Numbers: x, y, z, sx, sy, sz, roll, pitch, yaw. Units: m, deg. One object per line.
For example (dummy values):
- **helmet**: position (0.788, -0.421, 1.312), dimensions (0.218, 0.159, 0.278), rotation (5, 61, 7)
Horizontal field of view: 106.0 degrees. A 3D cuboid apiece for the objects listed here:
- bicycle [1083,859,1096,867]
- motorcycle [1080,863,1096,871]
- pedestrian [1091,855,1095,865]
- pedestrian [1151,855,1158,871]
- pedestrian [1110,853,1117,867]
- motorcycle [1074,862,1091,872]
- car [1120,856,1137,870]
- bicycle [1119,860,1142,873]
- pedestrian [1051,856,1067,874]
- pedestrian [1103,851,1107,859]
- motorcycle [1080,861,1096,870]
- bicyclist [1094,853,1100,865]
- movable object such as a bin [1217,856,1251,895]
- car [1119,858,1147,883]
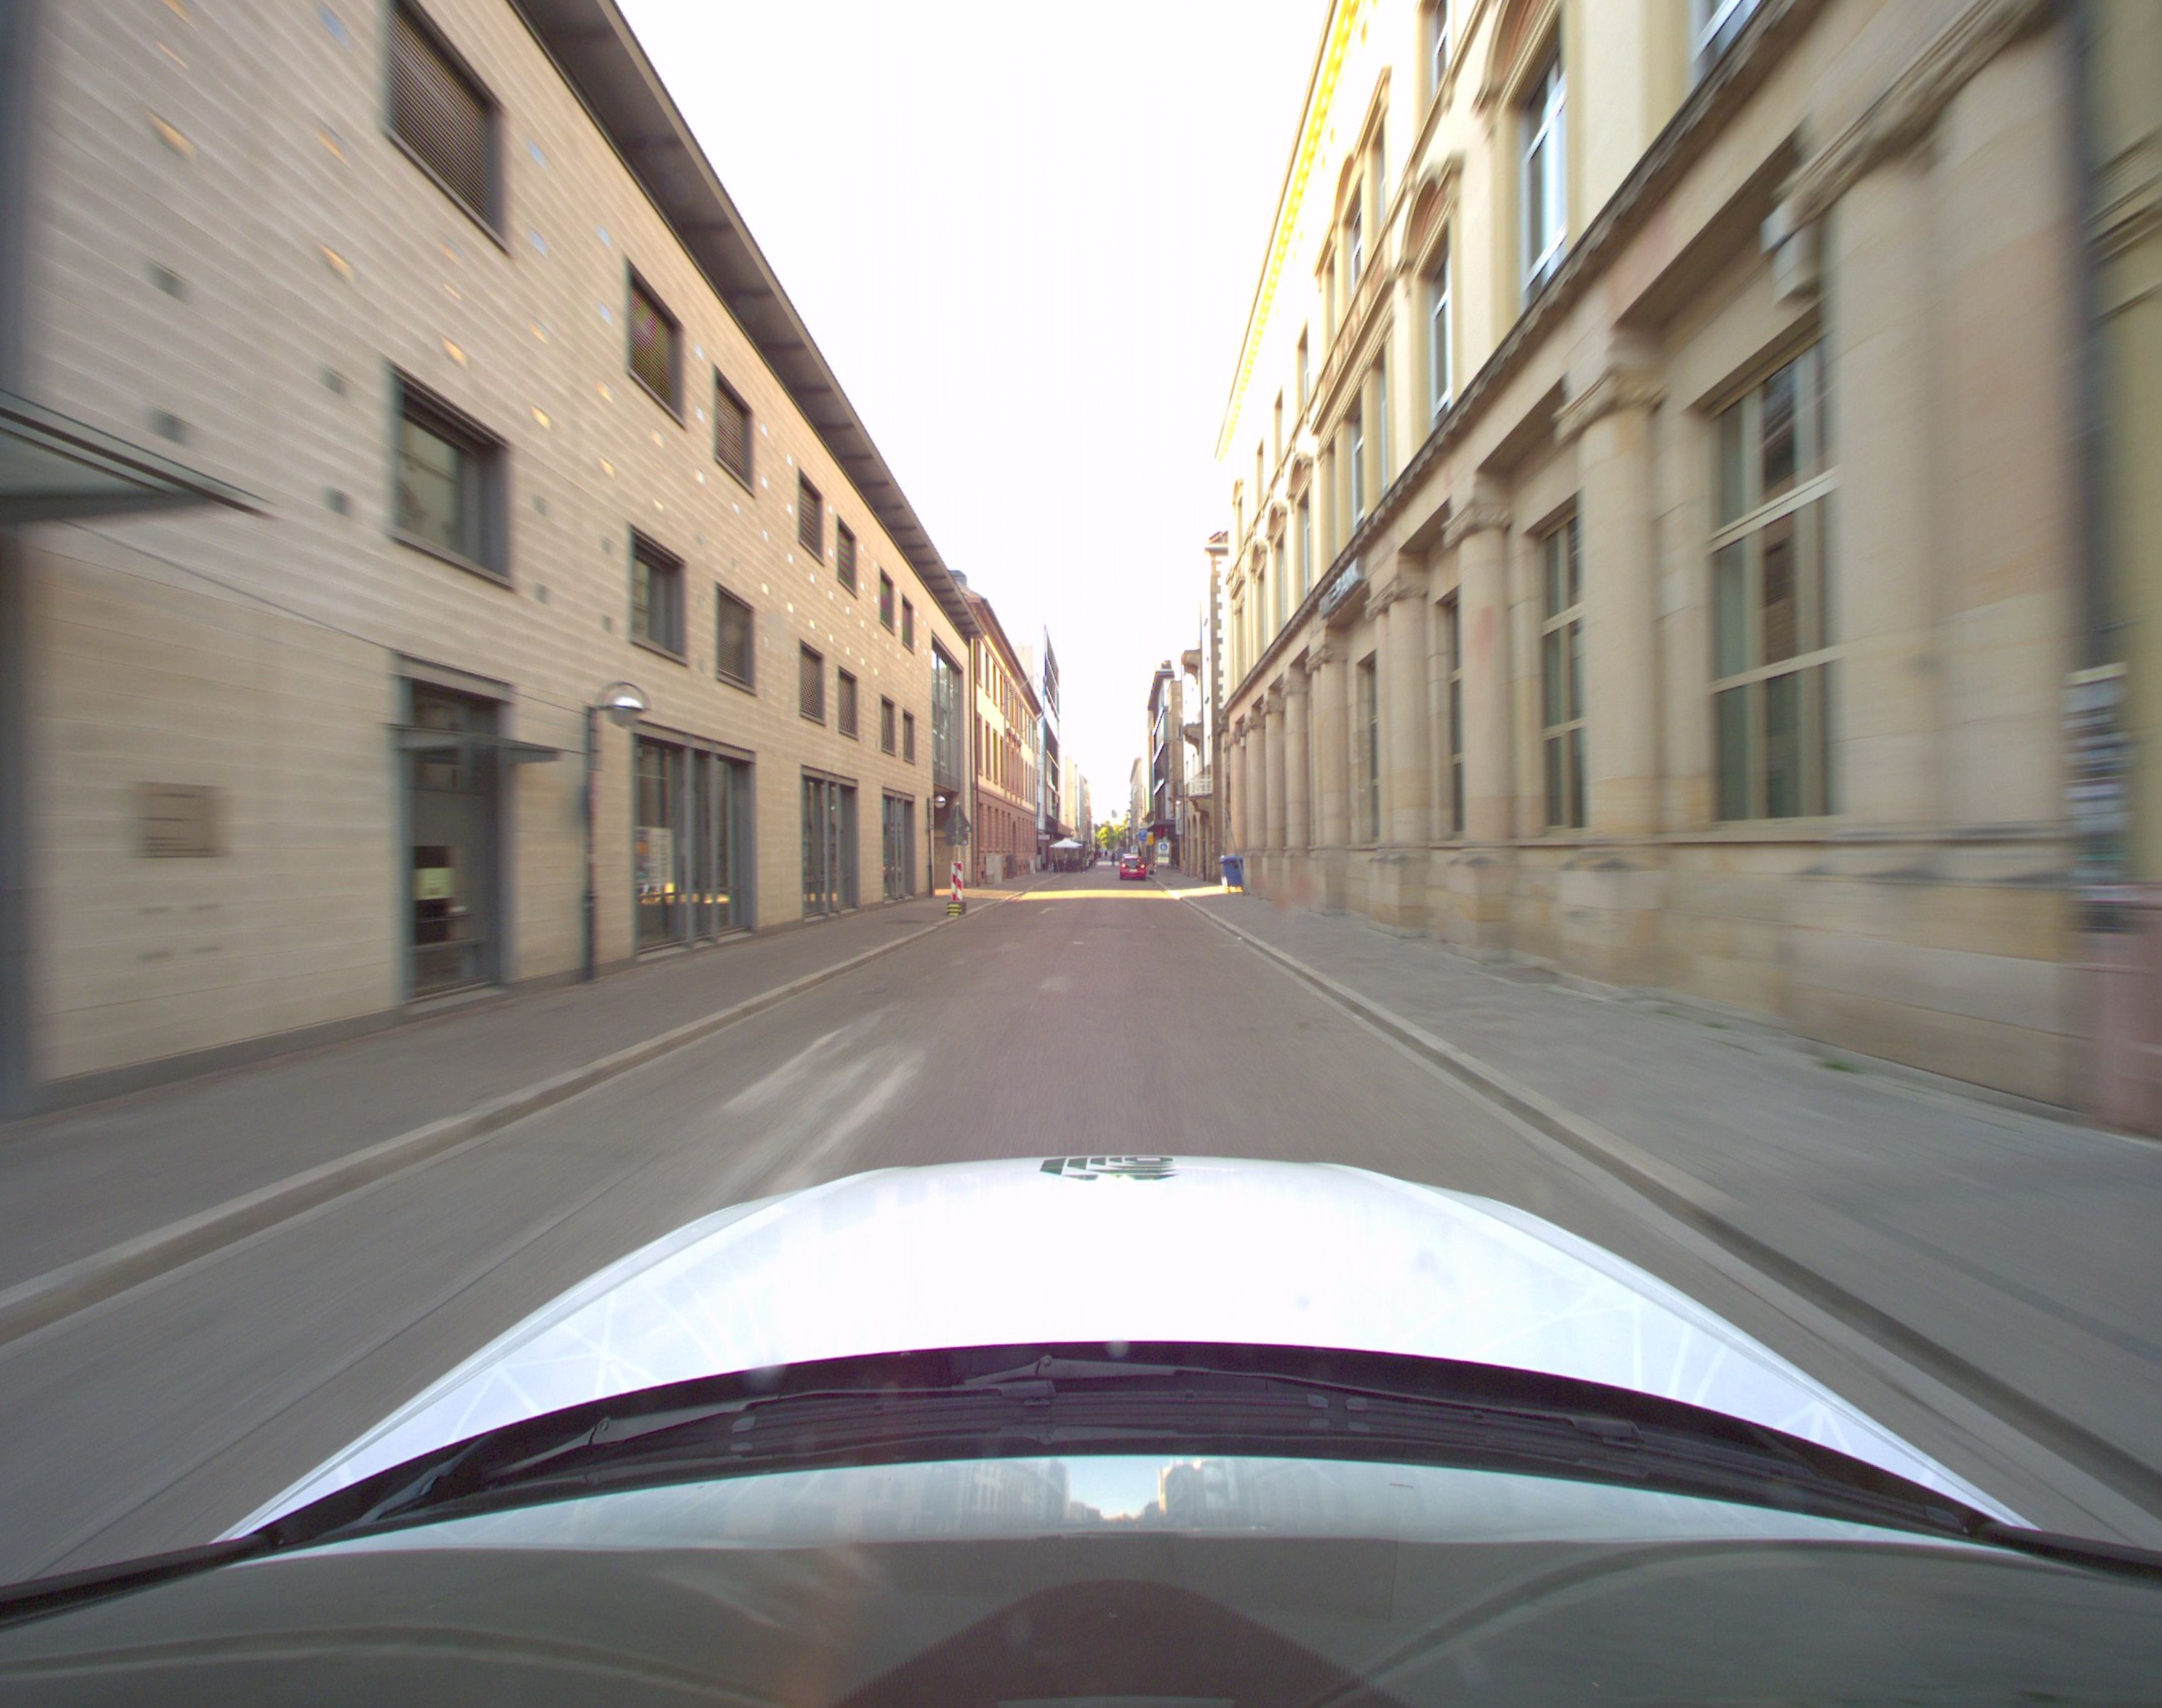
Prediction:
- **bicycle**: position (1.022, 1.098, 97.616), dimensions (1.526, 0.896, 0.481), rotation (0, 0, -26)
- **motorcycle**: position (0.792, 1.436, 91.074), dimensions (1.797, 0.875, 0.560), rotation (0, 0, -3)
- **pedestrian**: position (2.048, 1.056, 142.010), dimensions (0.675, 1.623, 0.626), rotation (0, 0, 4)
- **pedestrian**: position (6.674, 0.814, 74.219), dimensions (0.653, 1.487, 0.493), rotation (0, -1, 4)
- **pedestrian**: position (4.079, 0.777, 102.652), dimensions (0.862, 1.713, 0.852), rotation (0, 0, 1)
- **motorcycle**: position (0.148, 1.342, 83.019), dimensions (1.797, 1.040, 0.493), rotation (0, 0, -3)
- **car**: position (5.865, 1.109, 100.675), dimensions (1.987, 1.611, 4.000), rotation (0, 0, 1)
- **bicycle**: position (4.441, 1.130, 72.940), dimensions (2.046, 1.134, 0.649), rotation (0, 0, -2)
- **pedestrian**: position (-1.828, 0.893, 67.118), dimensions (1.286, 1.487, 0.661), rotation (0, 0, 0)
- **pedestrian**: position (5.263, 0.262, 175.134), dimensions (0.801, 1.672, 0.889), rotation (-1, 0, 4)
- **motorcycle**: position (0.809, 1.305, 92.109), dimensions (1.797, 0.989, 0.560), rotation (0, 0, -3)
- **bicyclist**: position (2.088, 0.644, 108.290), dimensions (0.636, 1.641, 0.770), rotation (-1, 0, -7)
- **movable object such as a bin**: position (5.636, 0.765, 30.063), dimensions (0.987, 1.392, 1.241), rotation (-1, 0, 1)
- **car**: position (3.246, 0.994, 51.095), dimensions (1.643, 1.427, 3.538), rotation (2, 0, 3)
